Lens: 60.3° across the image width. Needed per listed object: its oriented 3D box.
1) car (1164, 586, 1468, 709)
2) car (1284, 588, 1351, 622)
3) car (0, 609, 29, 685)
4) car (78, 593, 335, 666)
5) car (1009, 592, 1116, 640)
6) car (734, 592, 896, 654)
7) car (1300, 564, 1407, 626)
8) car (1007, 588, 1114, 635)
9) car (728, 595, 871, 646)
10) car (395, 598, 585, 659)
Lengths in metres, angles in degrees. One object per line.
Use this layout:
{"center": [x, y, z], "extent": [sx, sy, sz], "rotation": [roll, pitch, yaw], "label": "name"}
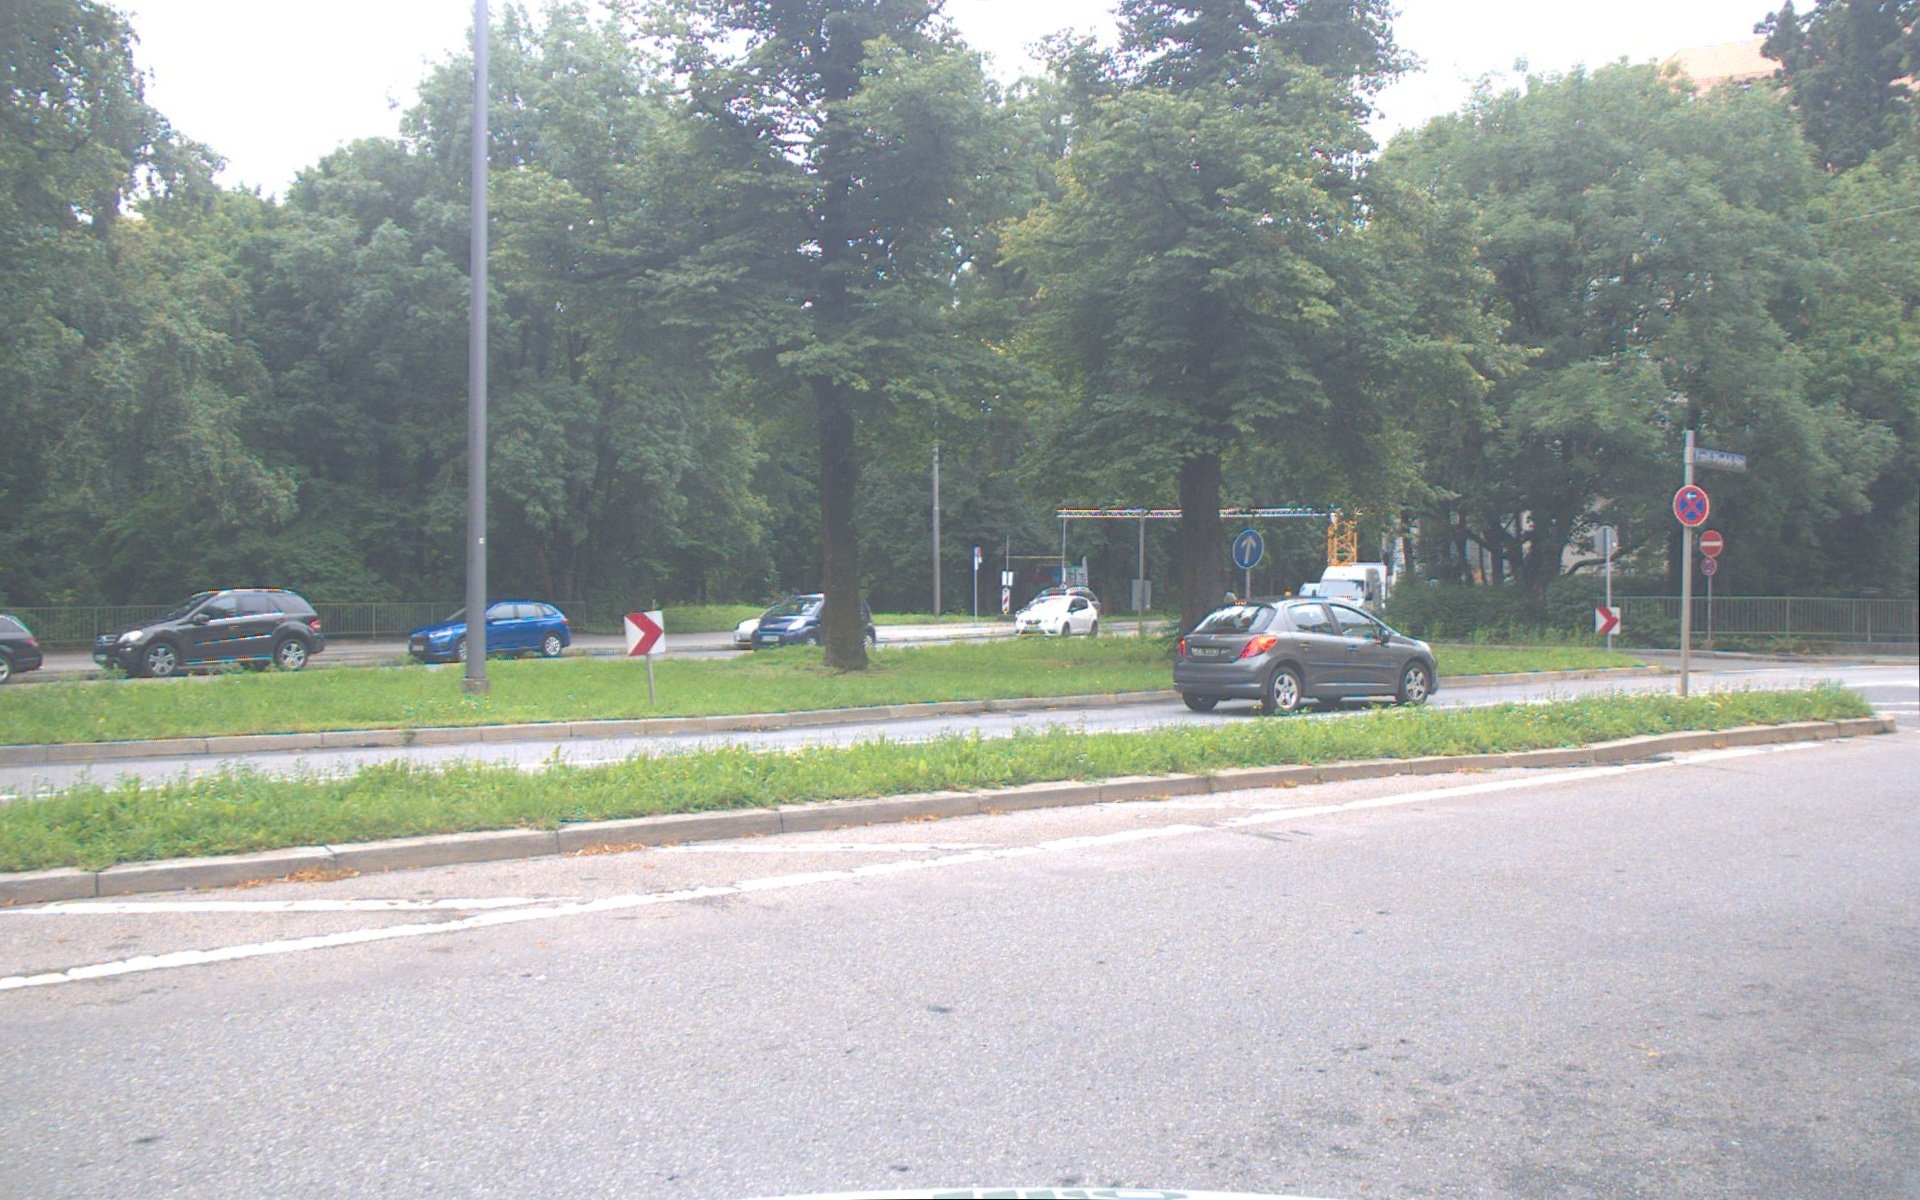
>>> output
{"center": [4.767, 0.580, 21.941], "extent": [4.029, 1.486, 1.742], "rotation": [0, 0, -36], "label": "car"}
{"center": [16.257, 0.219, 75.142], "extent": [1.855, 1.472, 4.293], "rotation": [0, 0, 28], "label": "car"}
{"center": [-20.240, 0.917, 31.185], "extent": [1.961, 1.472, 4.300], "rotation": [-1, -1, 37], "label": "car"}
{"center": [-16.277, 0.627, 35.943], "extent": [1.961, 1.472, 4.748], "rotation": [-1, -1, 37], "label": "car"}
{"center": [3.347, 0.526, 53.148], "extent": [1.793, 1.472, 4.229], "rotation": [-1, -1, 29], "label": "car"}
{"center": [-3.559, 0.546, 41.222], "extent": [1.860, 1.472, 4.018], "rotation": [0, 0, 36], "label": "car"}
{"center": [15.285, -0.191, 64.069], "extent": [2.262, 2.309, 5.108], "rotation": [0, 0, 36], "label": "car"}
{"center": [3.960, 0.442, 64.428], "extent": [1.960, 1.748, 4.630], "rotation": [-1, -1, 36], "label": "car"}
{"center": [-4.870, 0.622, 50.748], "extent": [1.960, 1.472, 4.406], "rotation": [-1, -1, 36], "label": "car"}
{"center": [-11.854, 0.709, 41.972], "extent": [1.960, 1.472, 4.406], "rotation": [-1, -1, 36], "label": "car"}
